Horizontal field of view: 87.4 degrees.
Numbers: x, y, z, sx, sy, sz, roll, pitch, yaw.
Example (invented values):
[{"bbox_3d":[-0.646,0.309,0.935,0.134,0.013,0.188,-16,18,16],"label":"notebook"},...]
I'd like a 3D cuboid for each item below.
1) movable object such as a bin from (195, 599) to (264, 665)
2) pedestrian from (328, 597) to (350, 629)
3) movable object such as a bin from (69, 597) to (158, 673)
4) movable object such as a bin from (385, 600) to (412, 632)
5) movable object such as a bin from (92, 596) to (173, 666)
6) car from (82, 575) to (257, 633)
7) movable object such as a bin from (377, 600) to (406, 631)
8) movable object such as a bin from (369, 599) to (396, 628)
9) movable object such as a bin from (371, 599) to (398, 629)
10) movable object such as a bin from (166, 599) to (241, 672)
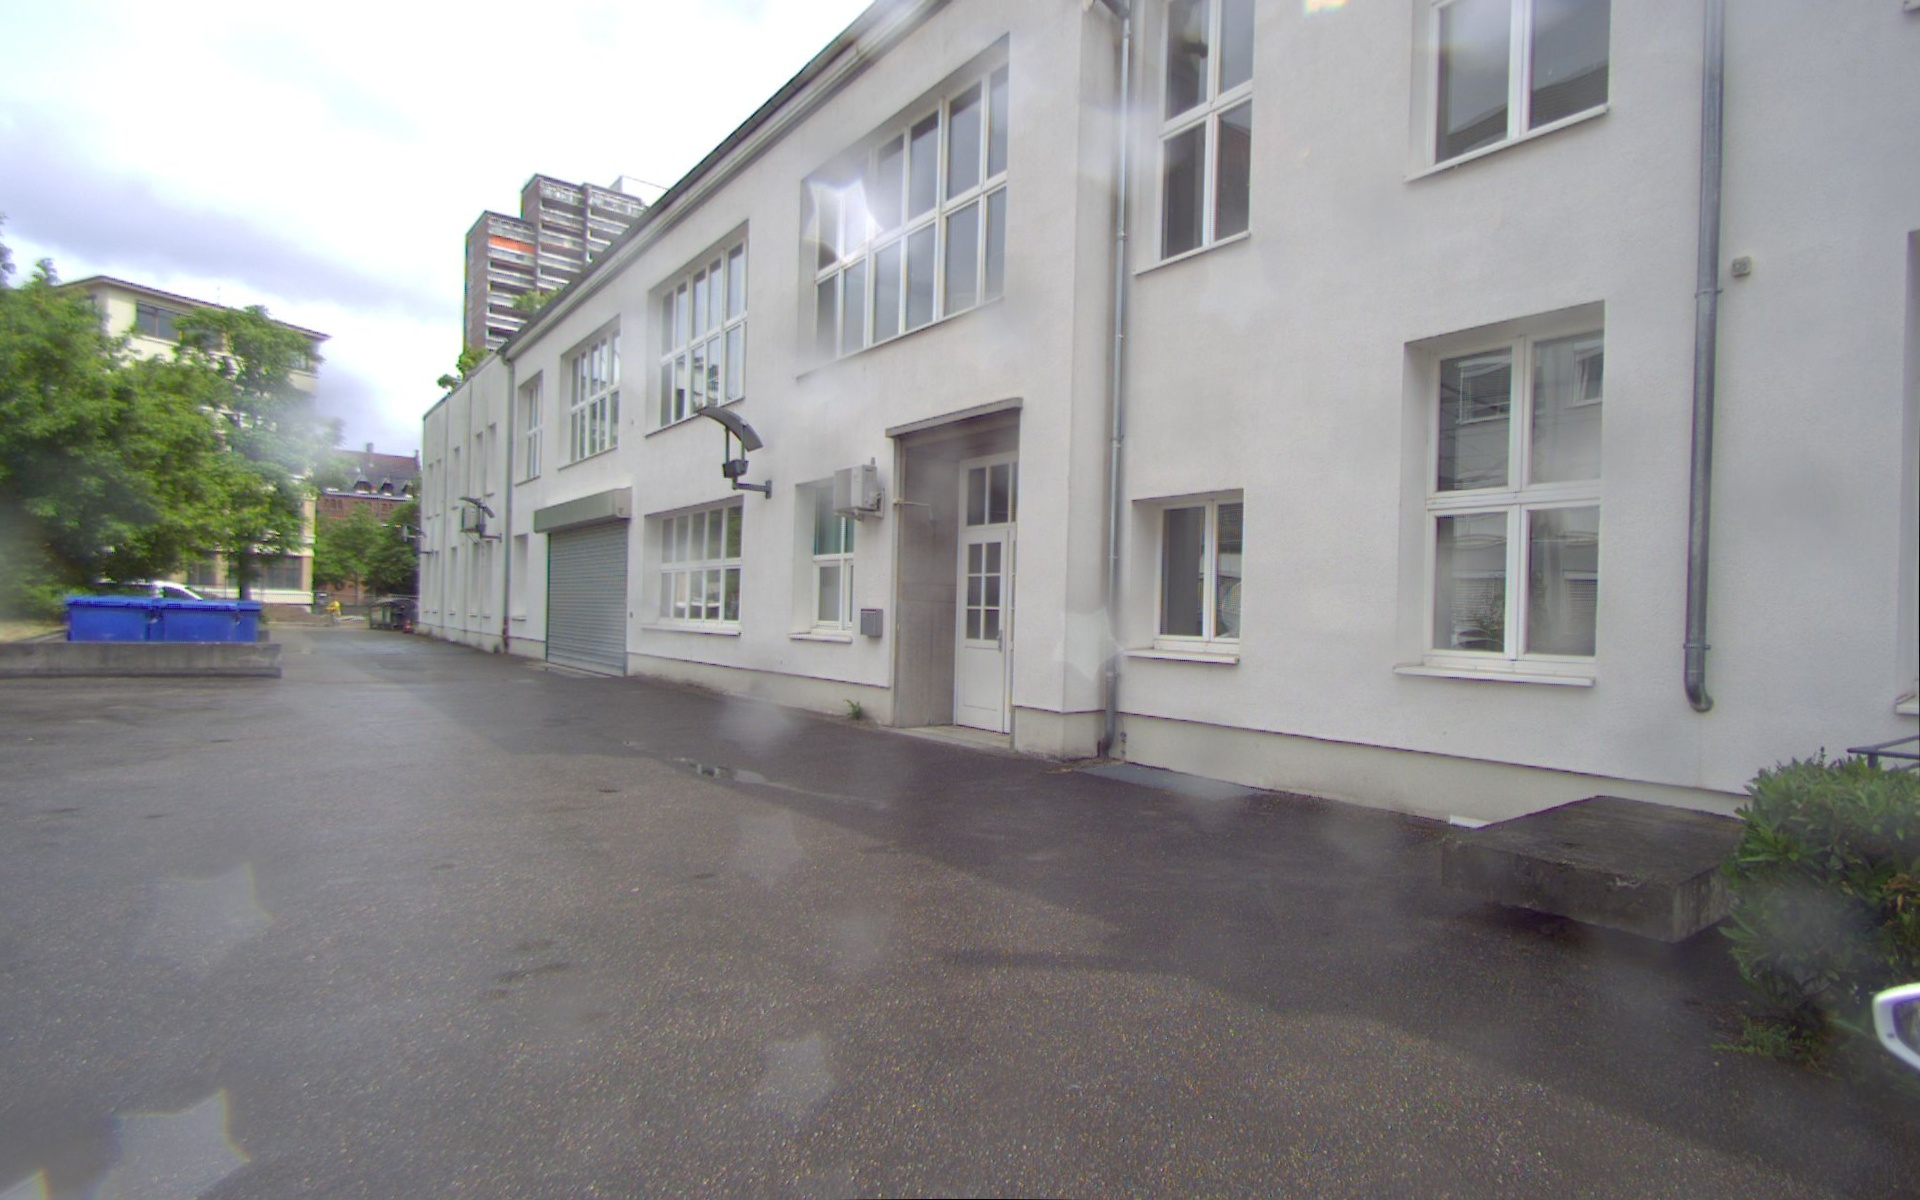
[{"bbox_3d":[-15.511,0.667,21.369,1.120,1.346,1.197,1,0,-34],"label":"movable object such as a bin"},{"bbox_3d":[-35.557,0.746,57.497,0.851,1.838,0.856,2,0,40],"label":"pedestrian"},{"bbox_3d":[-15.860,0.644,18.868,1.120,1.346,1.197,1,0,-34],"label":"movable object such as a bin"},{"bbox_3d":[-24.927,0.718,44.623,0.968,1.374,0.911,1,0,-34],"label":"movable object such as a bin"},{"bbox_3d":[-16.726,0.619,20.338,1.120,1.346,1.197,1,0,-34],"label":"movable object such as a bin"},{"bbox_3d":[-25.596,0.155,32.733,4.287,1.750,1.707,1,0,-32],"label":"car"},{"bbox_3d":[-26.054,0.711,46.023,1.035,1.374,1.196,1,0,-33],"label":"movable object such as a bin"},{"bbox_3d":[-28.427,0.643,49.464,1.055,1.374,1.253,1,0,-33],"label":"movable object such as a bin"},{"bbox_3d":[-27.681,0.665,48.328,1.055,1.374,1.253,1,0,-33],"label":"movable object such as a bin"},{"bbox_3d":[-14.809,0.678,19.697,1.084,1.343,1.197,1,0,-34],"label":"movable object such as a bin"}]
